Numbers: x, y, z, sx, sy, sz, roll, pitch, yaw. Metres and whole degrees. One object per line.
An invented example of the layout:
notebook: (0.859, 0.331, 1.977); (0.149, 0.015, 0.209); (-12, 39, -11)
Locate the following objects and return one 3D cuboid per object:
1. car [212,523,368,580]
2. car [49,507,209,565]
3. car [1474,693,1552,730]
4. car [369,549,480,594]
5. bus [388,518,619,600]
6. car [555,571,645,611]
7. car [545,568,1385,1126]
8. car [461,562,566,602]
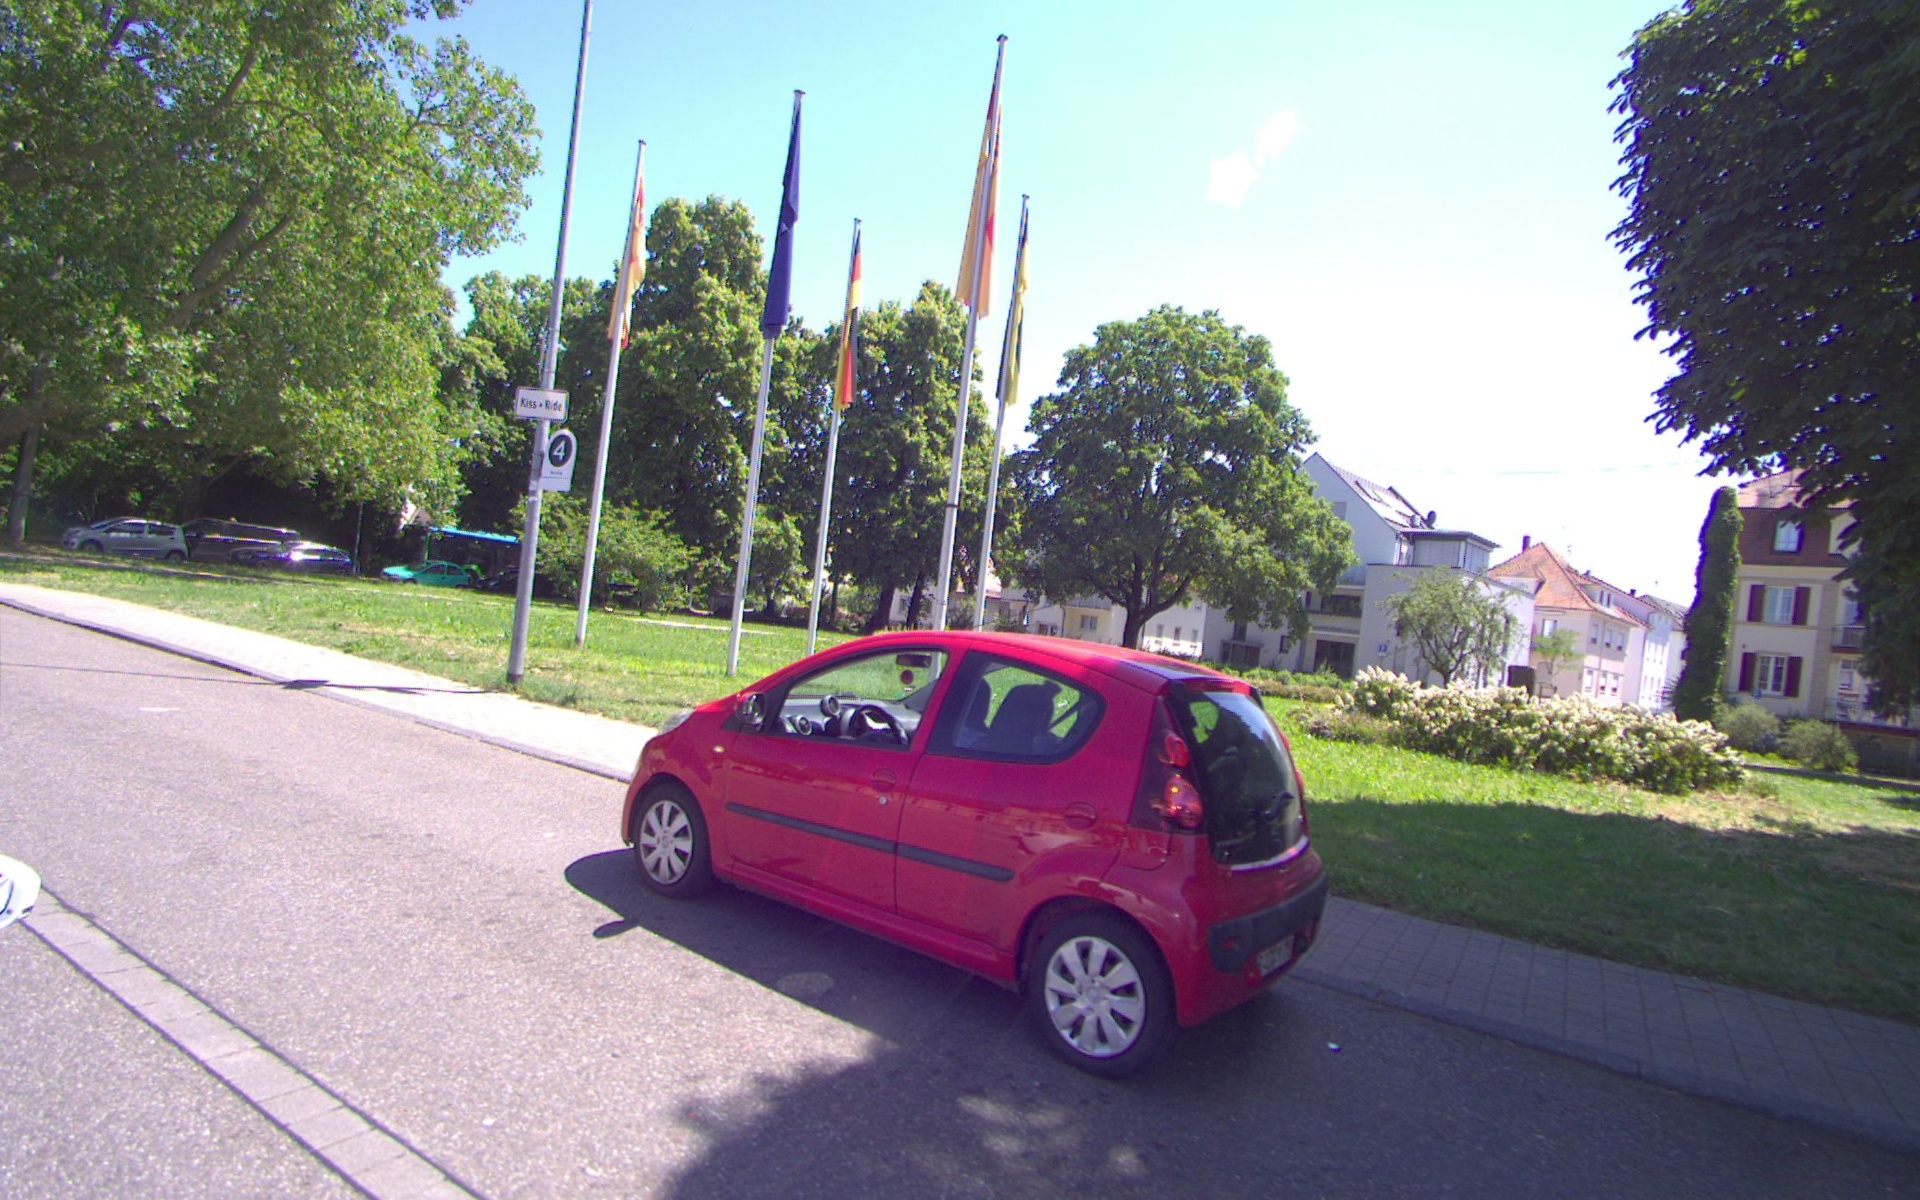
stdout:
car: (-27.299, -1.950, 41.159); (1.969, 1.627, 4.826); (7, -1, 35)
car: (-30.438, -2.304, 36.958); (1.969, 1.484, 4.107); (6, -1, 35)
car: (28.218, 5.705, 51.325); (3.656, 1.450, 1.458); (7, 0, -23)
car: (-24.422, -1.294, 45.989); (1.968, 1.470, 3.887); (5, -3, 33)
bus: (-24.906, -2.086, 56.032); (2.231, 3.013, 12.397); (6, -2, 32)
car: (-19.446, -0.480, 54.488); (1.968, 1.627, 4.103); (5, -3, 33)
car: (-0.133, 0.803, 4.889); (3.648, 1.496, 1.719); (6, -1, 36)
car: (-22.147, -0.866, 50.068); (1.968, 1.432, 4.344); (5, -3, 32)
